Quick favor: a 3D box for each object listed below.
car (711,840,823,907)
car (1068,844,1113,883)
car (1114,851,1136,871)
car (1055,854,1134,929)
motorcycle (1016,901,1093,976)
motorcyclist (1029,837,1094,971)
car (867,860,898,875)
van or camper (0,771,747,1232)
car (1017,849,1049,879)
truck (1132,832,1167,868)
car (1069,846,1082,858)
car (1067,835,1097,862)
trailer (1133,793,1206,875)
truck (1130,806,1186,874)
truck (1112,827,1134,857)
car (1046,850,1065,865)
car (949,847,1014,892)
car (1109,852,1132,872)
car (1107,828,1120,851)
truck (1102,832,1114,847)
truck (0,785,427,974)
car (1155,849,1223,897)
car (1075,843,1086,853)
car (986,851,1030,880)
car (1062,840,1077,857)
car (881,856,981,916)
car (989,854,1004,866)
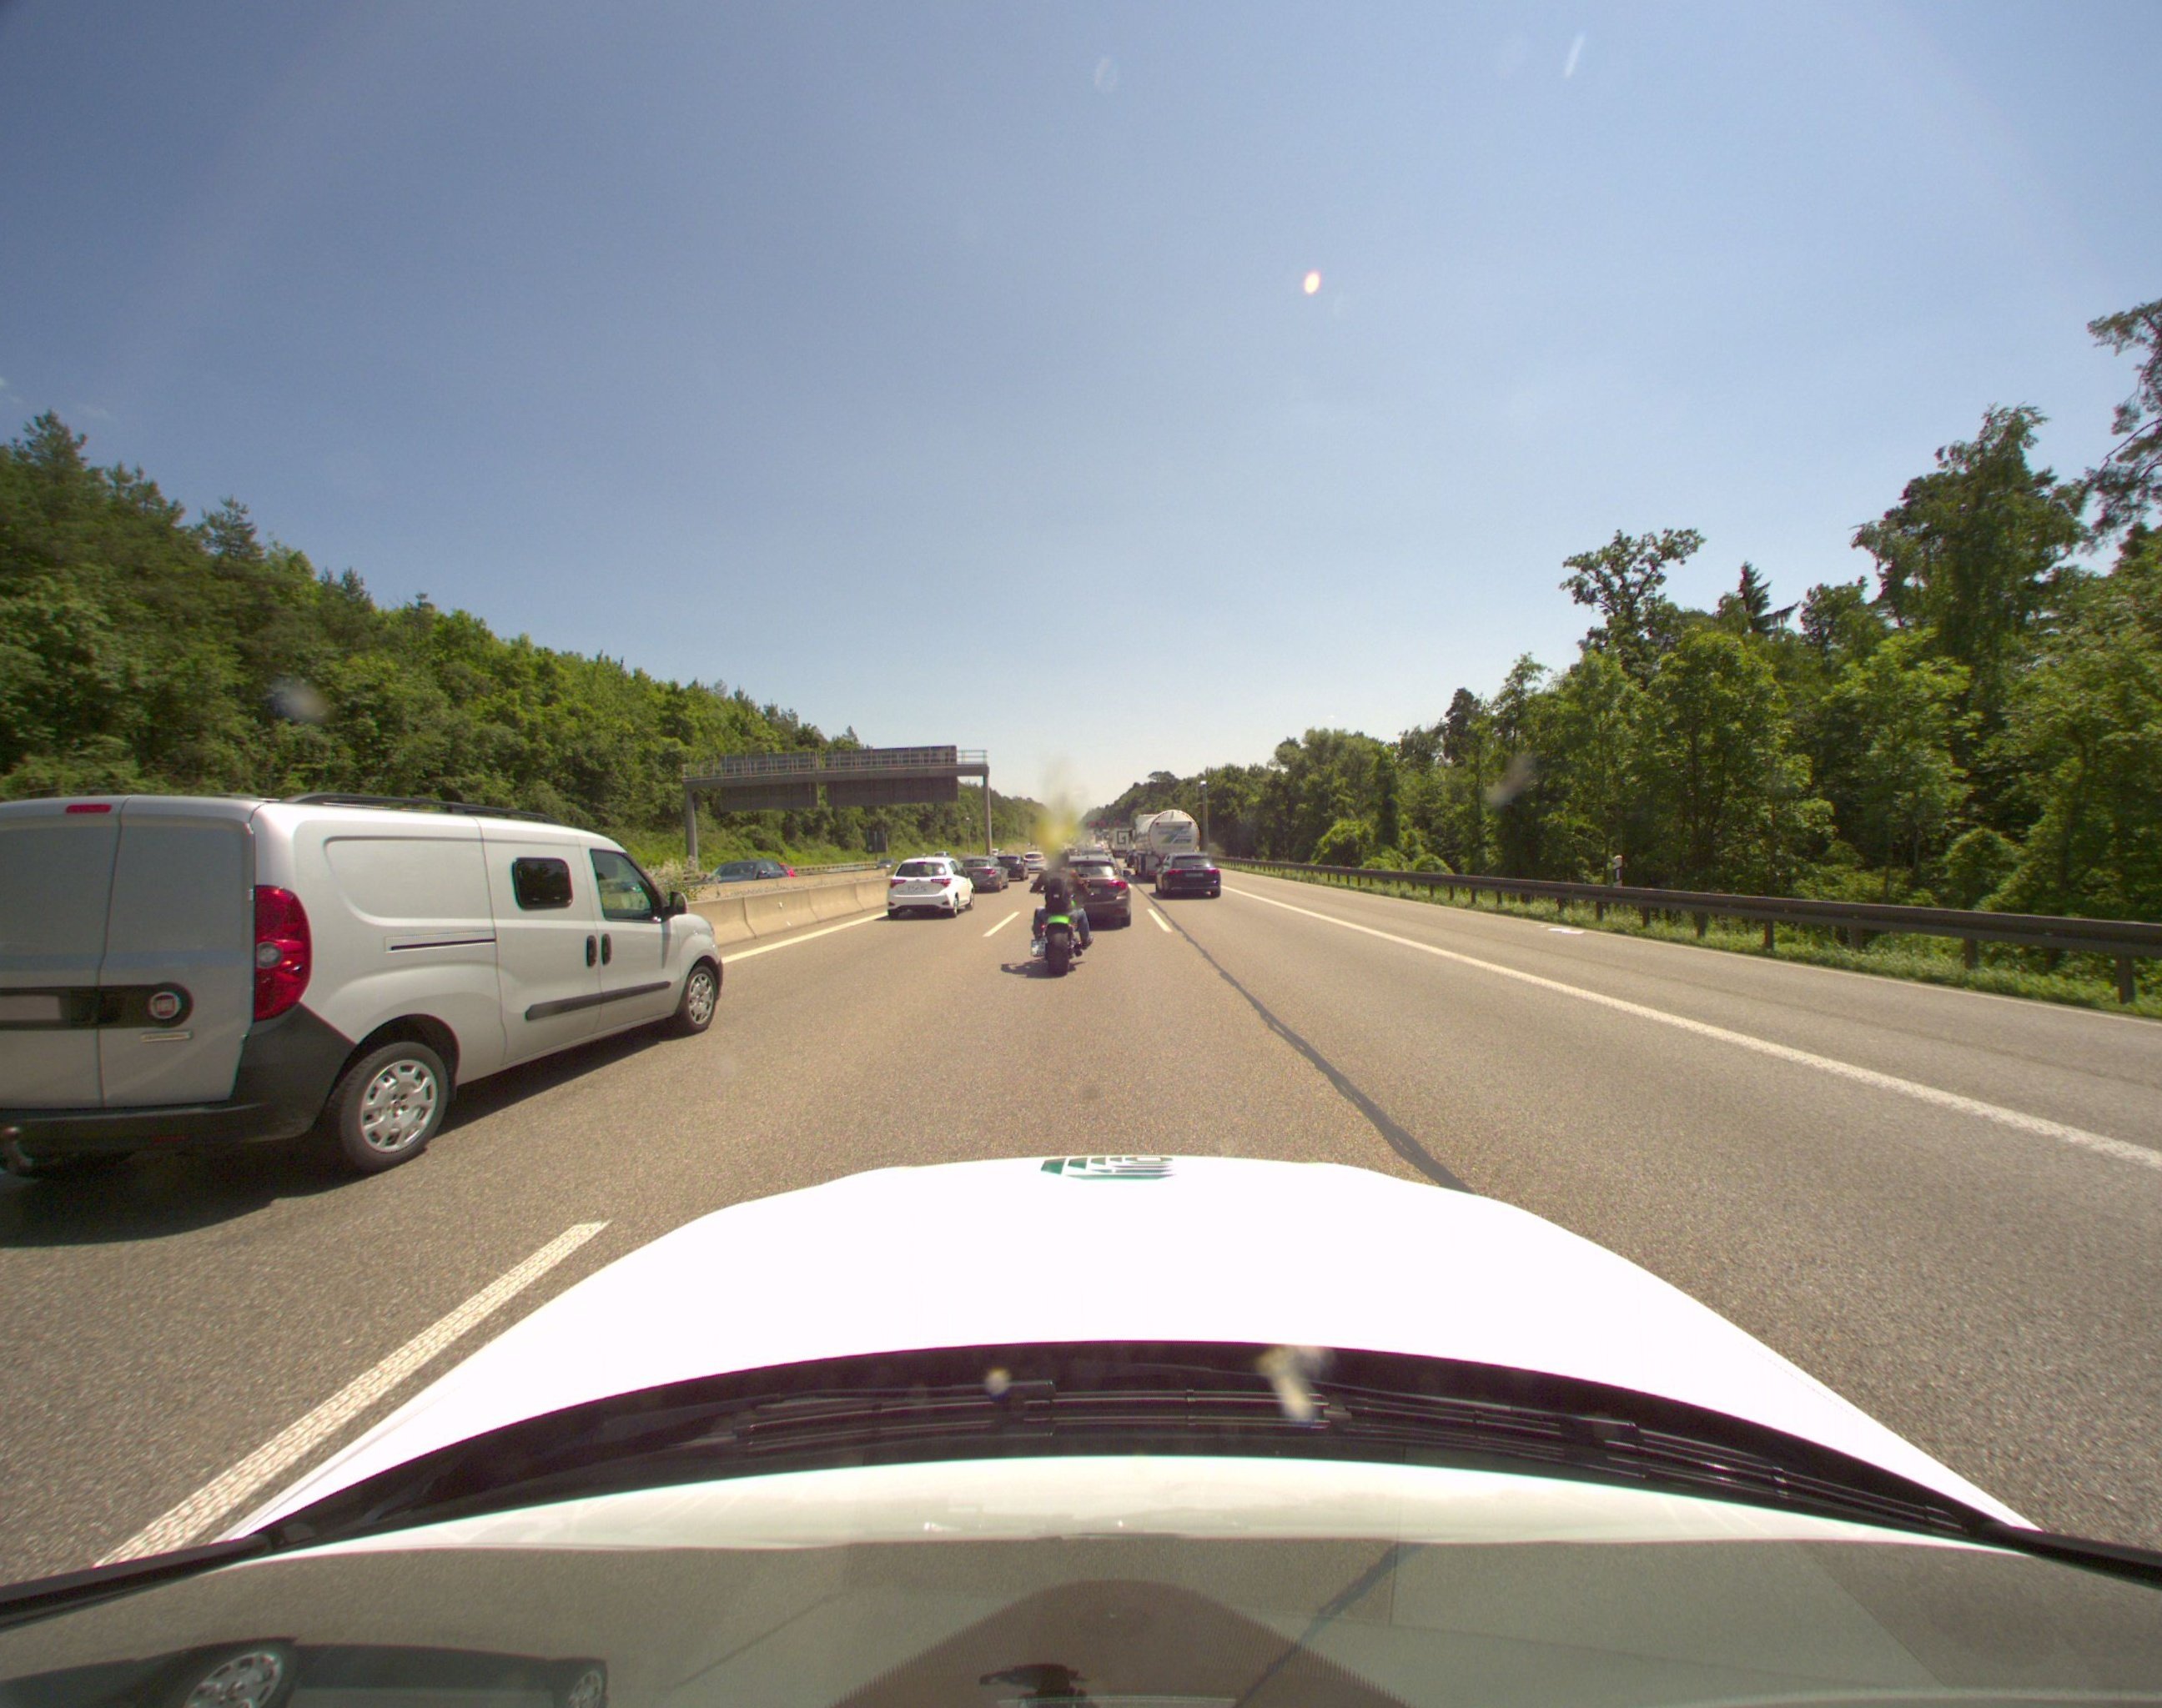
[{"bbox_3d":[-10.264,0.631,26.974,1.986,2.014,4.002,-1,-1,2],"label":"car"},{"bbox_3d":[0.444,0.446,38.004,1.987,1.711,4.000,-1,-1,0],"label":"car"},{"bbox_3d":[4.414,0.741,82.854,1.987,2.014,3.999,-1,-1,0],"label":"car"},{"bbox_3d":[0.311,0.746,18.039,1.535,1.450,4.001,-1,0,1],"label":"car"},{"bbox_3d":[-0.314,1.116,11.301,0.932,0.793,2.299,-1,0,1],"label":"motorcycle"},{"bbox_3d":[-0.243,0.639,10.863,0.796,1.688,1.017,-1,-1,1],"label":"motorcyclist"},{"bbox_3d":[-20.014,1.334,82.200,1.986,1.447,4.001,-1,-1,2],"label":"car"},{"bbox_3d":[-4.258,0.620,5.637,1.846,1.880,4.563,-1,0,2],"label":"van or camper"},{"bbox_3d":[-3.394,0.701,58.022,1.987,2.014,4.000,-1,-1,1],"label":"car"},{"bbox_3d":[6.005,-0.337,72.401,2.380,2.979,8.252,-1,0,0],"label":"truck"},{"bbox_3d":[-0.817,-0.323,116.987,1.654,1.599,4.002,-2,0,2],"label":"car"},{"bbox_3d":[0.073,-0.328,56.363,1.987,1.775,4.000,-1,-1,0],"label":"car"},{"bbox_3d":[4.386,-0.834,42.528,2.817,3.671,10.734,-1,-1,1],"label":"trailer"},{"bbox_3d":[4.421,-0.731,47.890,2.818,3.671,6.430,-1,-1,1],"label":"truck"},{"bbox_3d":[5.937,-1.610,113.551,2.841,3.821,7.195,-1,-1,4],"label":"truck"},{"bbox_3d":[-2.725,0.388,86.944,1.757,1.442,4.001,-1,-1,2],"label":"car"},{"bbox_3d":[-3.974,0.610,33.209,1.986,1.684,4.331,-1,-1,1],"label":"car"},{"bbox_3d":[3.212,0.659,66.790,1.769,1.527,4.001,-1,-1,1],"label":"car"},{"bbox_3d":[5.992,-2.621,150.333,2.159,3.893,9.331,-1,-1,1],"label":"car"},{"bbox_3d":[6.779,-3.612,205.796,2.686,3.405,10.481,-2,0,1],"label":"truck"},{"bbox_3d":[-21.785,0.604,21.335,2.682,3.990,7.992,-1,-1,1],"label":"truck"},{"bbox_3d":[3.572,0.615,27.658,1.785,1.458,4.625,-1,-1,1],"label":"car"},{"bbox_3d":[-0.145,-1.207,162.883,1.986,2.013,4.001,-2,0,1],"label":"car"},{"bbox_3d":[-3.887,0.629,43.966,1.987,1.464,3.999,-1,-1,0],"label":"car"},{"bbox_3d":[-1.454,-0.692,103.350,1.654,1.978,4.002,-1,-1,2],"label":"car"},{"bbox_3d":[-3.816,0.789,21.338,1.769,1.411,4.001,-1,-1,1],"label":"car"},{"bbox_3d":[-15.422,1.120,149.071,1.986,2.014,4.474,-1,-1,2],"label":"car"}]
